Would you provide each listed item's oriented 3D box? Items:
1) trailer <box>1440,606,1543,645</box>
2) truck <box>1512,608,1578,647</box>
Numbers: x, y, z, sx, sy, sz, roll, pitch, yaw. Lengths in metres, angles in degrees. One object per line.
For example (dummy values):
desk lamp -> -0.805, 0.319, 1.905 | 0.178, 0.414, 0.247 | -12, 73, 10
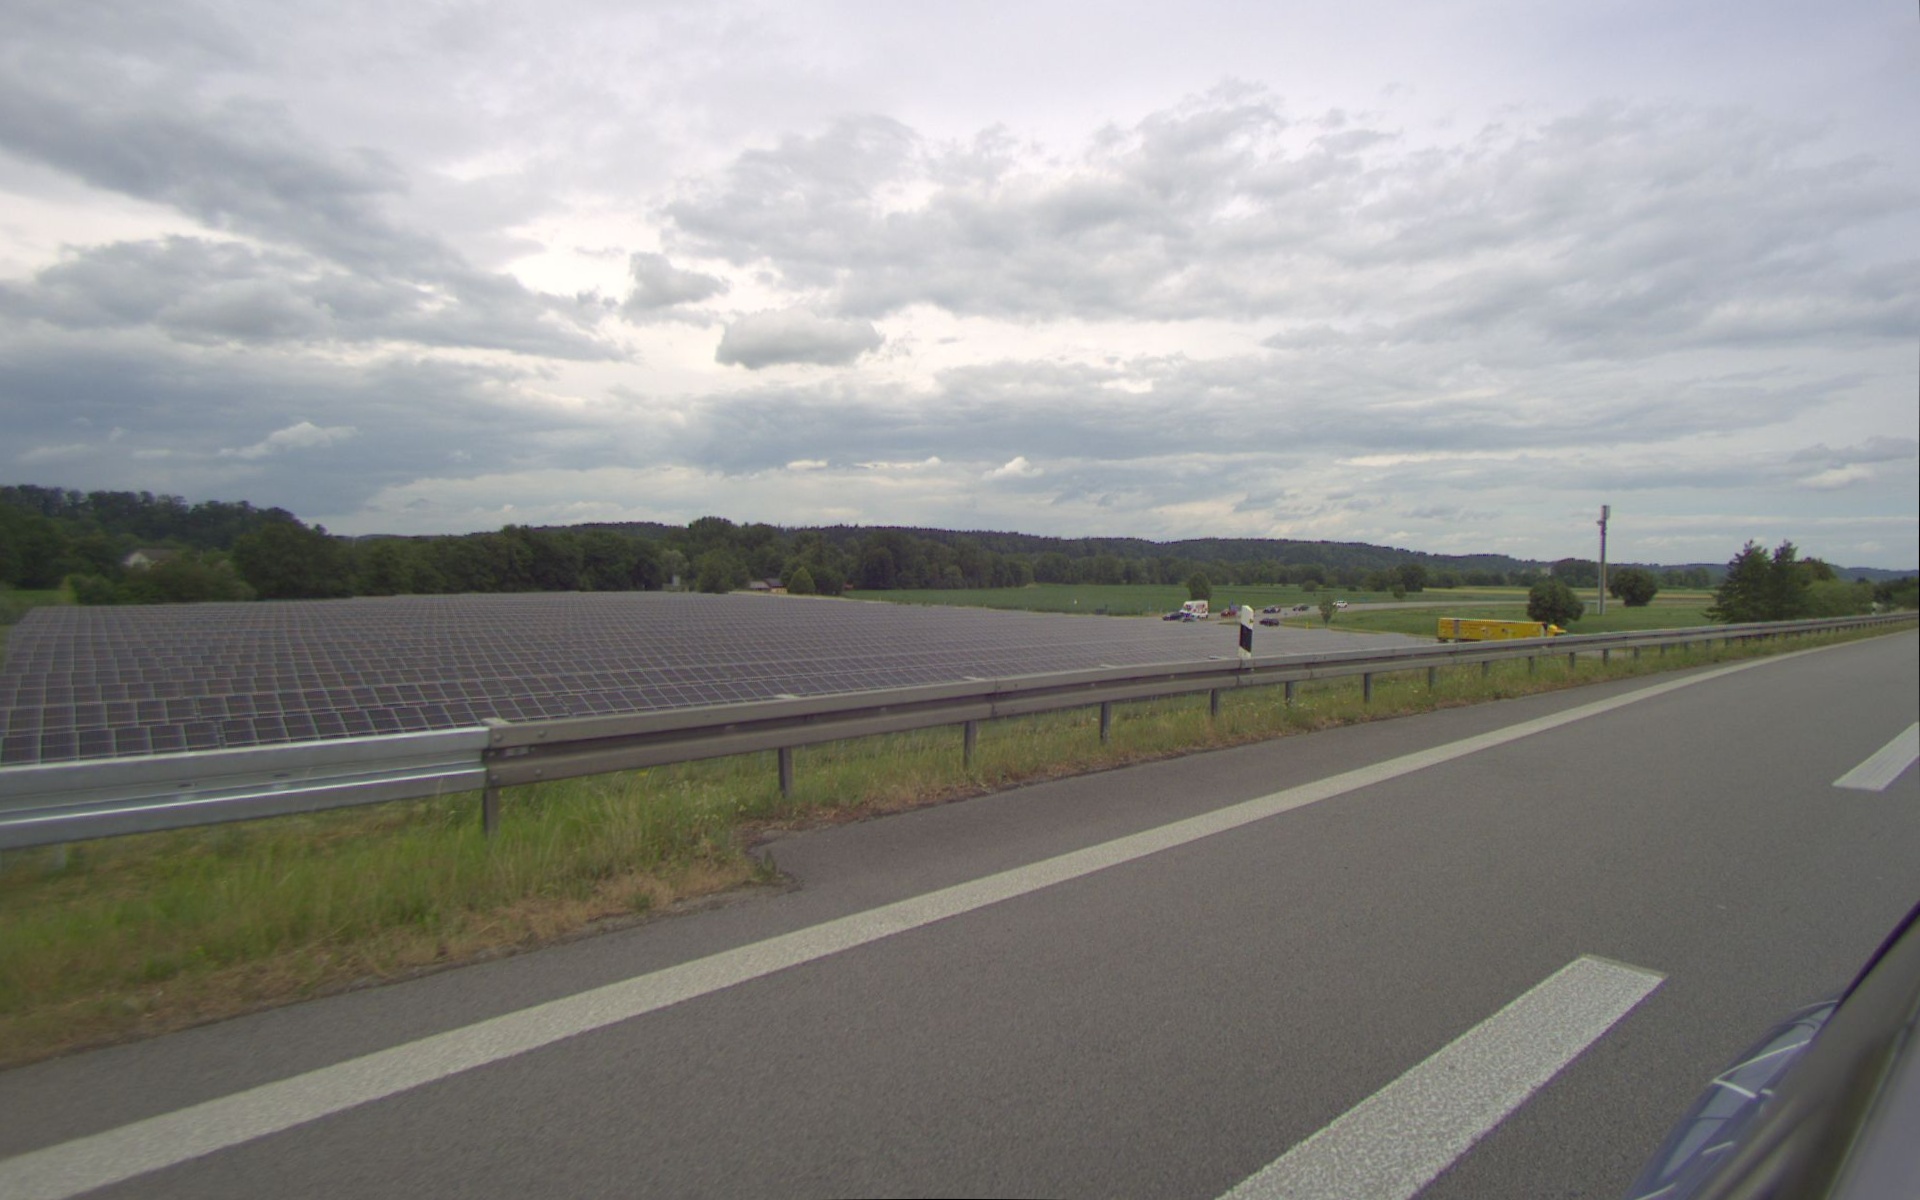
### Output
trailer -> 73.889, 3.435, 141.044 | 2.970, 4.847, 12.278 | 0, 1, -44
truck -> 78.651, 3.578, 136.166 | 2.970, 4.847, 7.122 | 0, 1, -44
